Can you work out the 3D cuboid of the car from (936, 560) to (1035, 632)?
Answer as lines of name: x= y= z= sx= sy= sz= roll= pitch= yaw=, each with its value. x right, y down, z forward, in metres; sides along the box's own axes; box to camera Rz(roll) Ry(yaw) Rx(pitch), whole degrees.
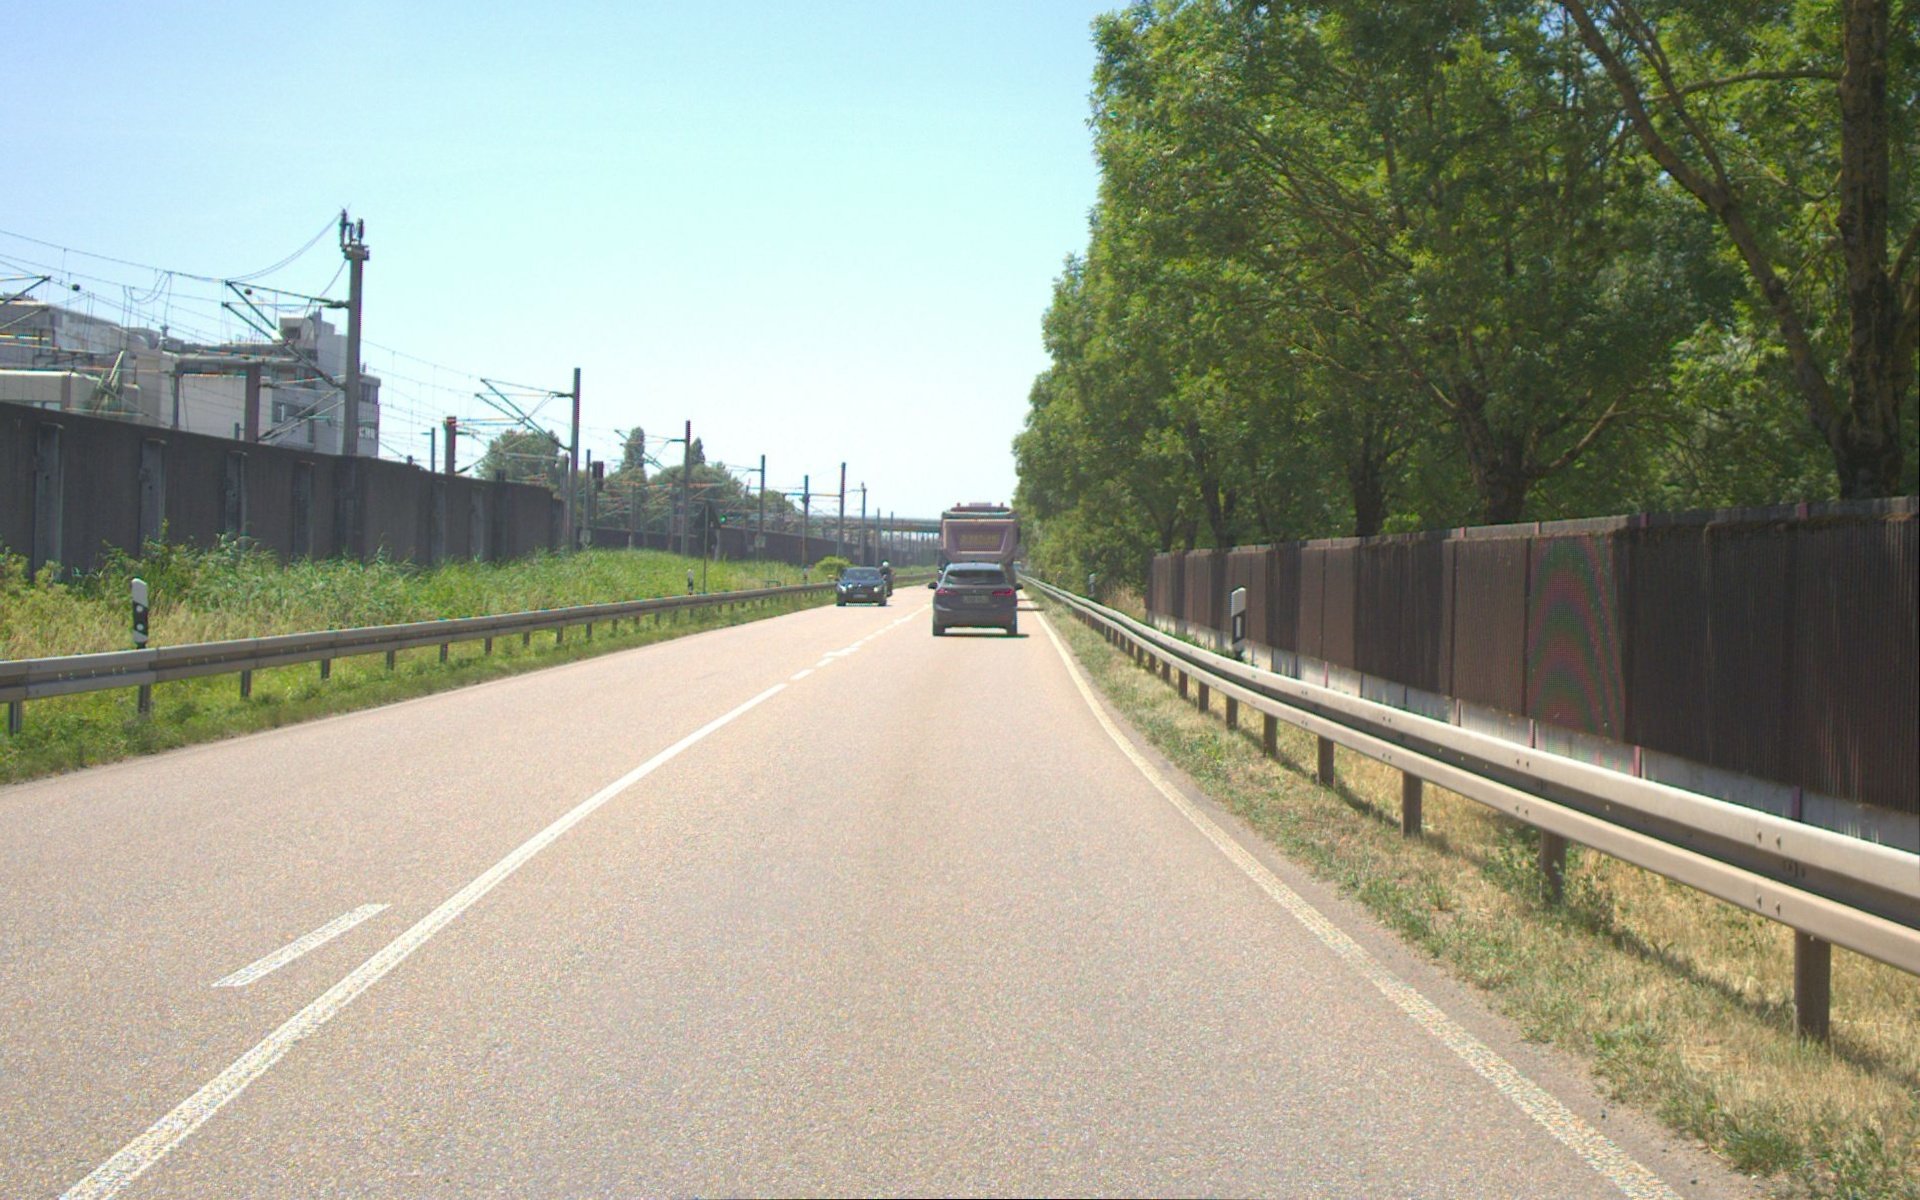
car: x=0.528 y=-0.113 z=74.361 sx=1.993 sy=1.503 sz=4.000 roll=0 pitch=1 yaw=-1

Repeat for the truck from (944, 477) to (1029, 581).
truck: x=0.961 y=-2.413 z=119.755 sx=2.770 sy=3.414 sz=10.819 roll=1 pitch=0 yaw=1

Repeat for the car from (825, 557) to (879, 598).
car: x=-4.047 y=-0.840 z=128.827 sx=1.993 sy=1.503 sz=4.000 roll=0 pitch=1 yaw=-2
